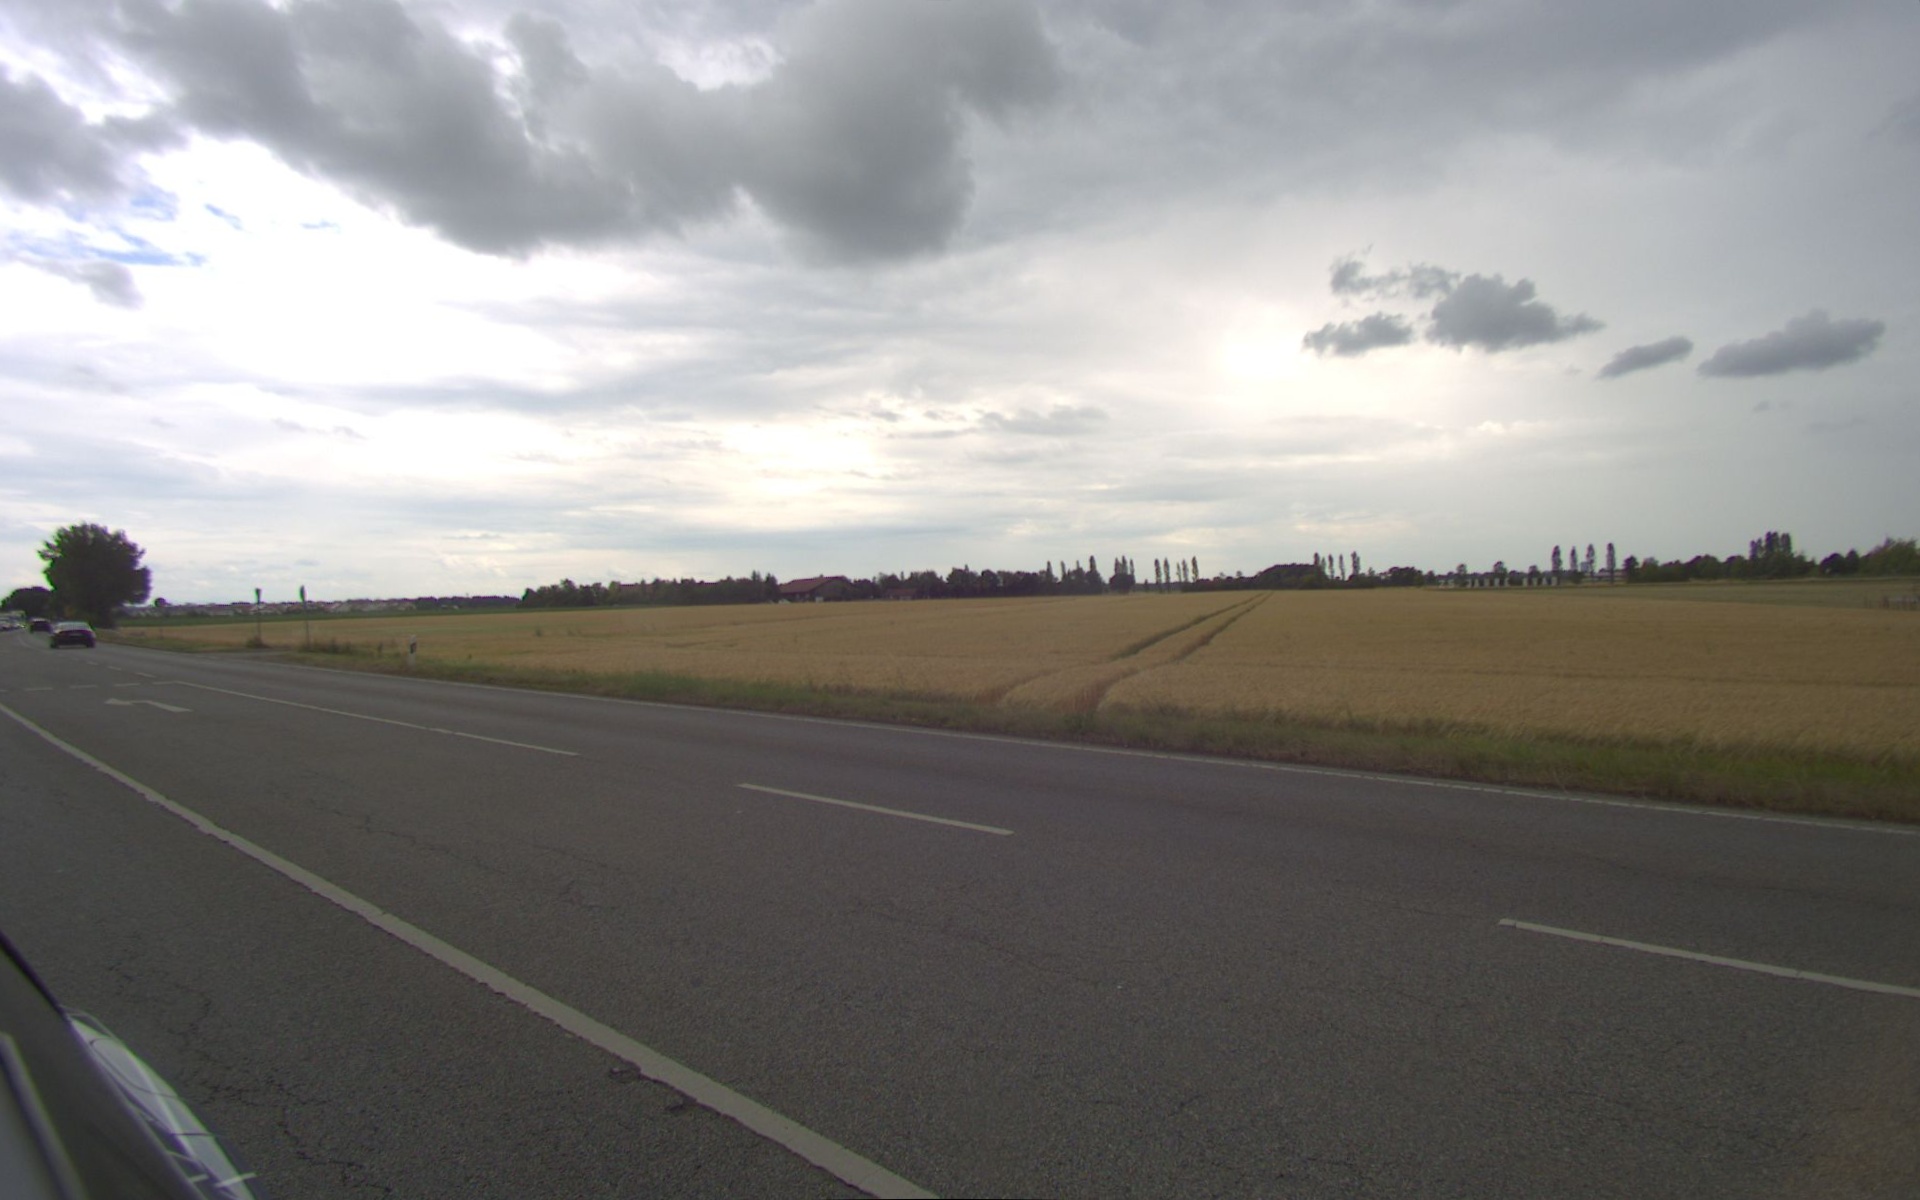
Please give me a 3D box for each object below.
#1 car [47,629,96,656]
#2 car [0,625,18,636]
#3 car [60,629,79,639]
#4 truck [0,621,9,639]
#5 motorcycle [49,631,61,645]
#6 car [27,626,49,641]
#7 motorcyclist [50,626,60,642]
[{"bbox_3d":[-49.435,2.354,56.281,1.805,1.421,4.427,0,-1,-44],"label":"car"},{"bbox_3d":[-134.119,4.256,142.491,1.766,1.551,4.145,0,-1,-38],"label":"car"},{"bbox_3d":[-150.704,5.748,171.307,1.967,1.521,4.009,1,-2,-36],"label":"car"},{"bbox_3d":[-150.171,4.659,157.469,7.666,2.786,2.291,-1,0,40],"label":"truck"},{"bbox_3d":[-78.879,3.330,88.215,0.717,1.157,2.026,0,-1,-43],"label":"motorcycle"},{"bbox_3d":[-109.140,3.987,119.797,1.924,1.707,4.451,0,-1,-43],"label":"car"},{"bbox_3d":[-78.901,2.975,88.242,0.632,1.394,0.810,0,-1,-43],"label":"motorcyclist"}]
